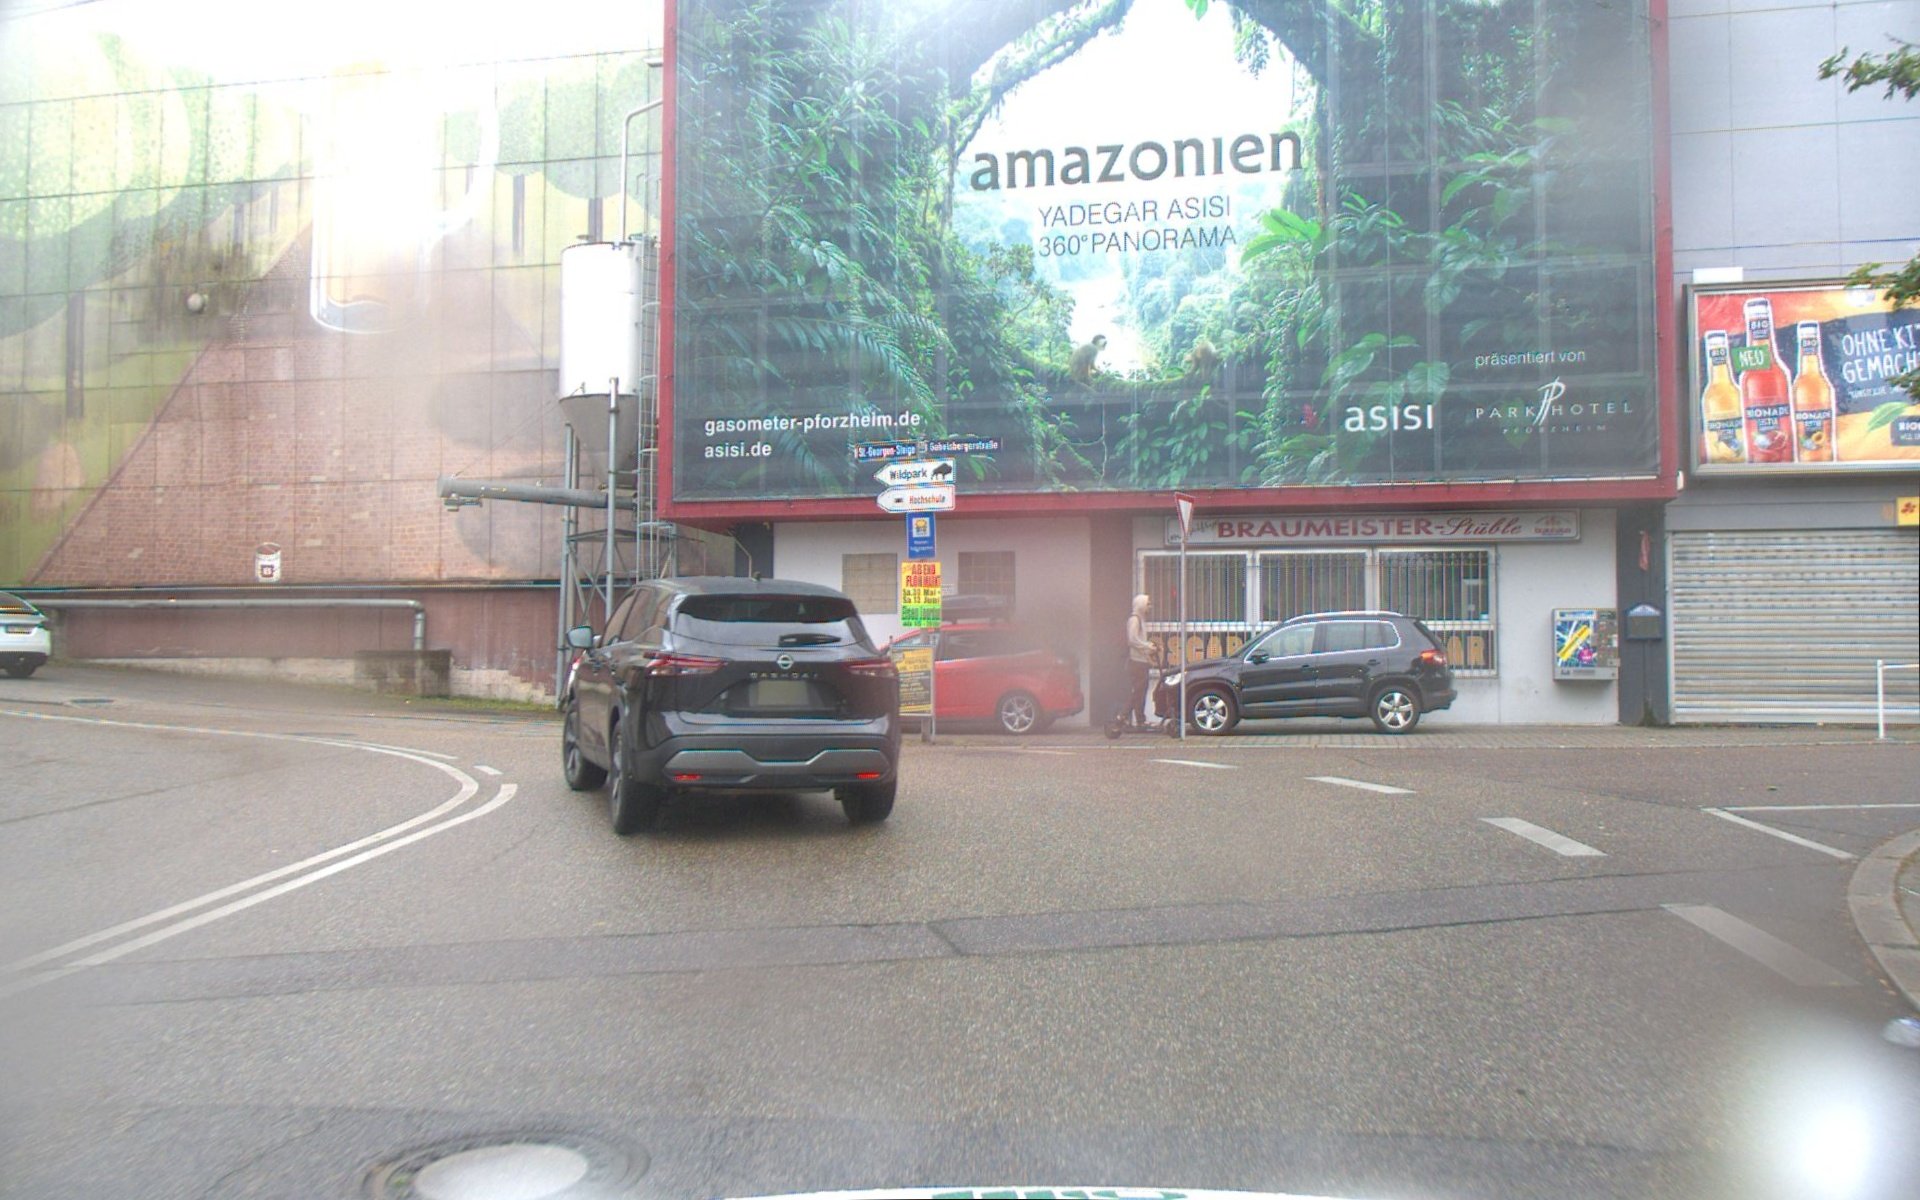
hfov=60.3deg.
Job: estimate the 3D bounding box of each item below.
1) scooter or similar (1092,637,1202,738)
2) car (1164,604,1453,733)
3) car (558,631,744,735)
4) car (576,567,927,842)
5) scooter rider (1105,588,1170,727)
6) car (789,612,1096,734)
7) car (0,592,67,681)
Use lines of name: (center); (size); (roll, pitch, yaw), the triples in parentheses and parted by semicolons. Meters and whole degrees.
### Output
scooter or similar: (2.555, 1.175, 22.534); (1.374, 1.346, 0.805); (-1, -1, 15)
car: (5.029, 0.991, 23.959); (3.902, 1.742, 1.934); (-1, -2, 13)
car: (-5.199, 1.356, 28.365); (1.829, 1.560, 3.996); (1, 0, 10)
car: (-1.670, 0.635, 11.930); (1.852, 1.622, 3.901); (0, -1, -18)
scooter rider: (2.432, 0.778, 22.565); (0.762, 1.853, 0.805); (-1, -1, 15)
car: (-0.220, 1.107, 25.535); (4.382, 1.742, 1.934); (0, -2, 13)
car: (-20.156, 0.595, 32.562); (4.801, 1.645, 1.858); (3, -2, 23)
